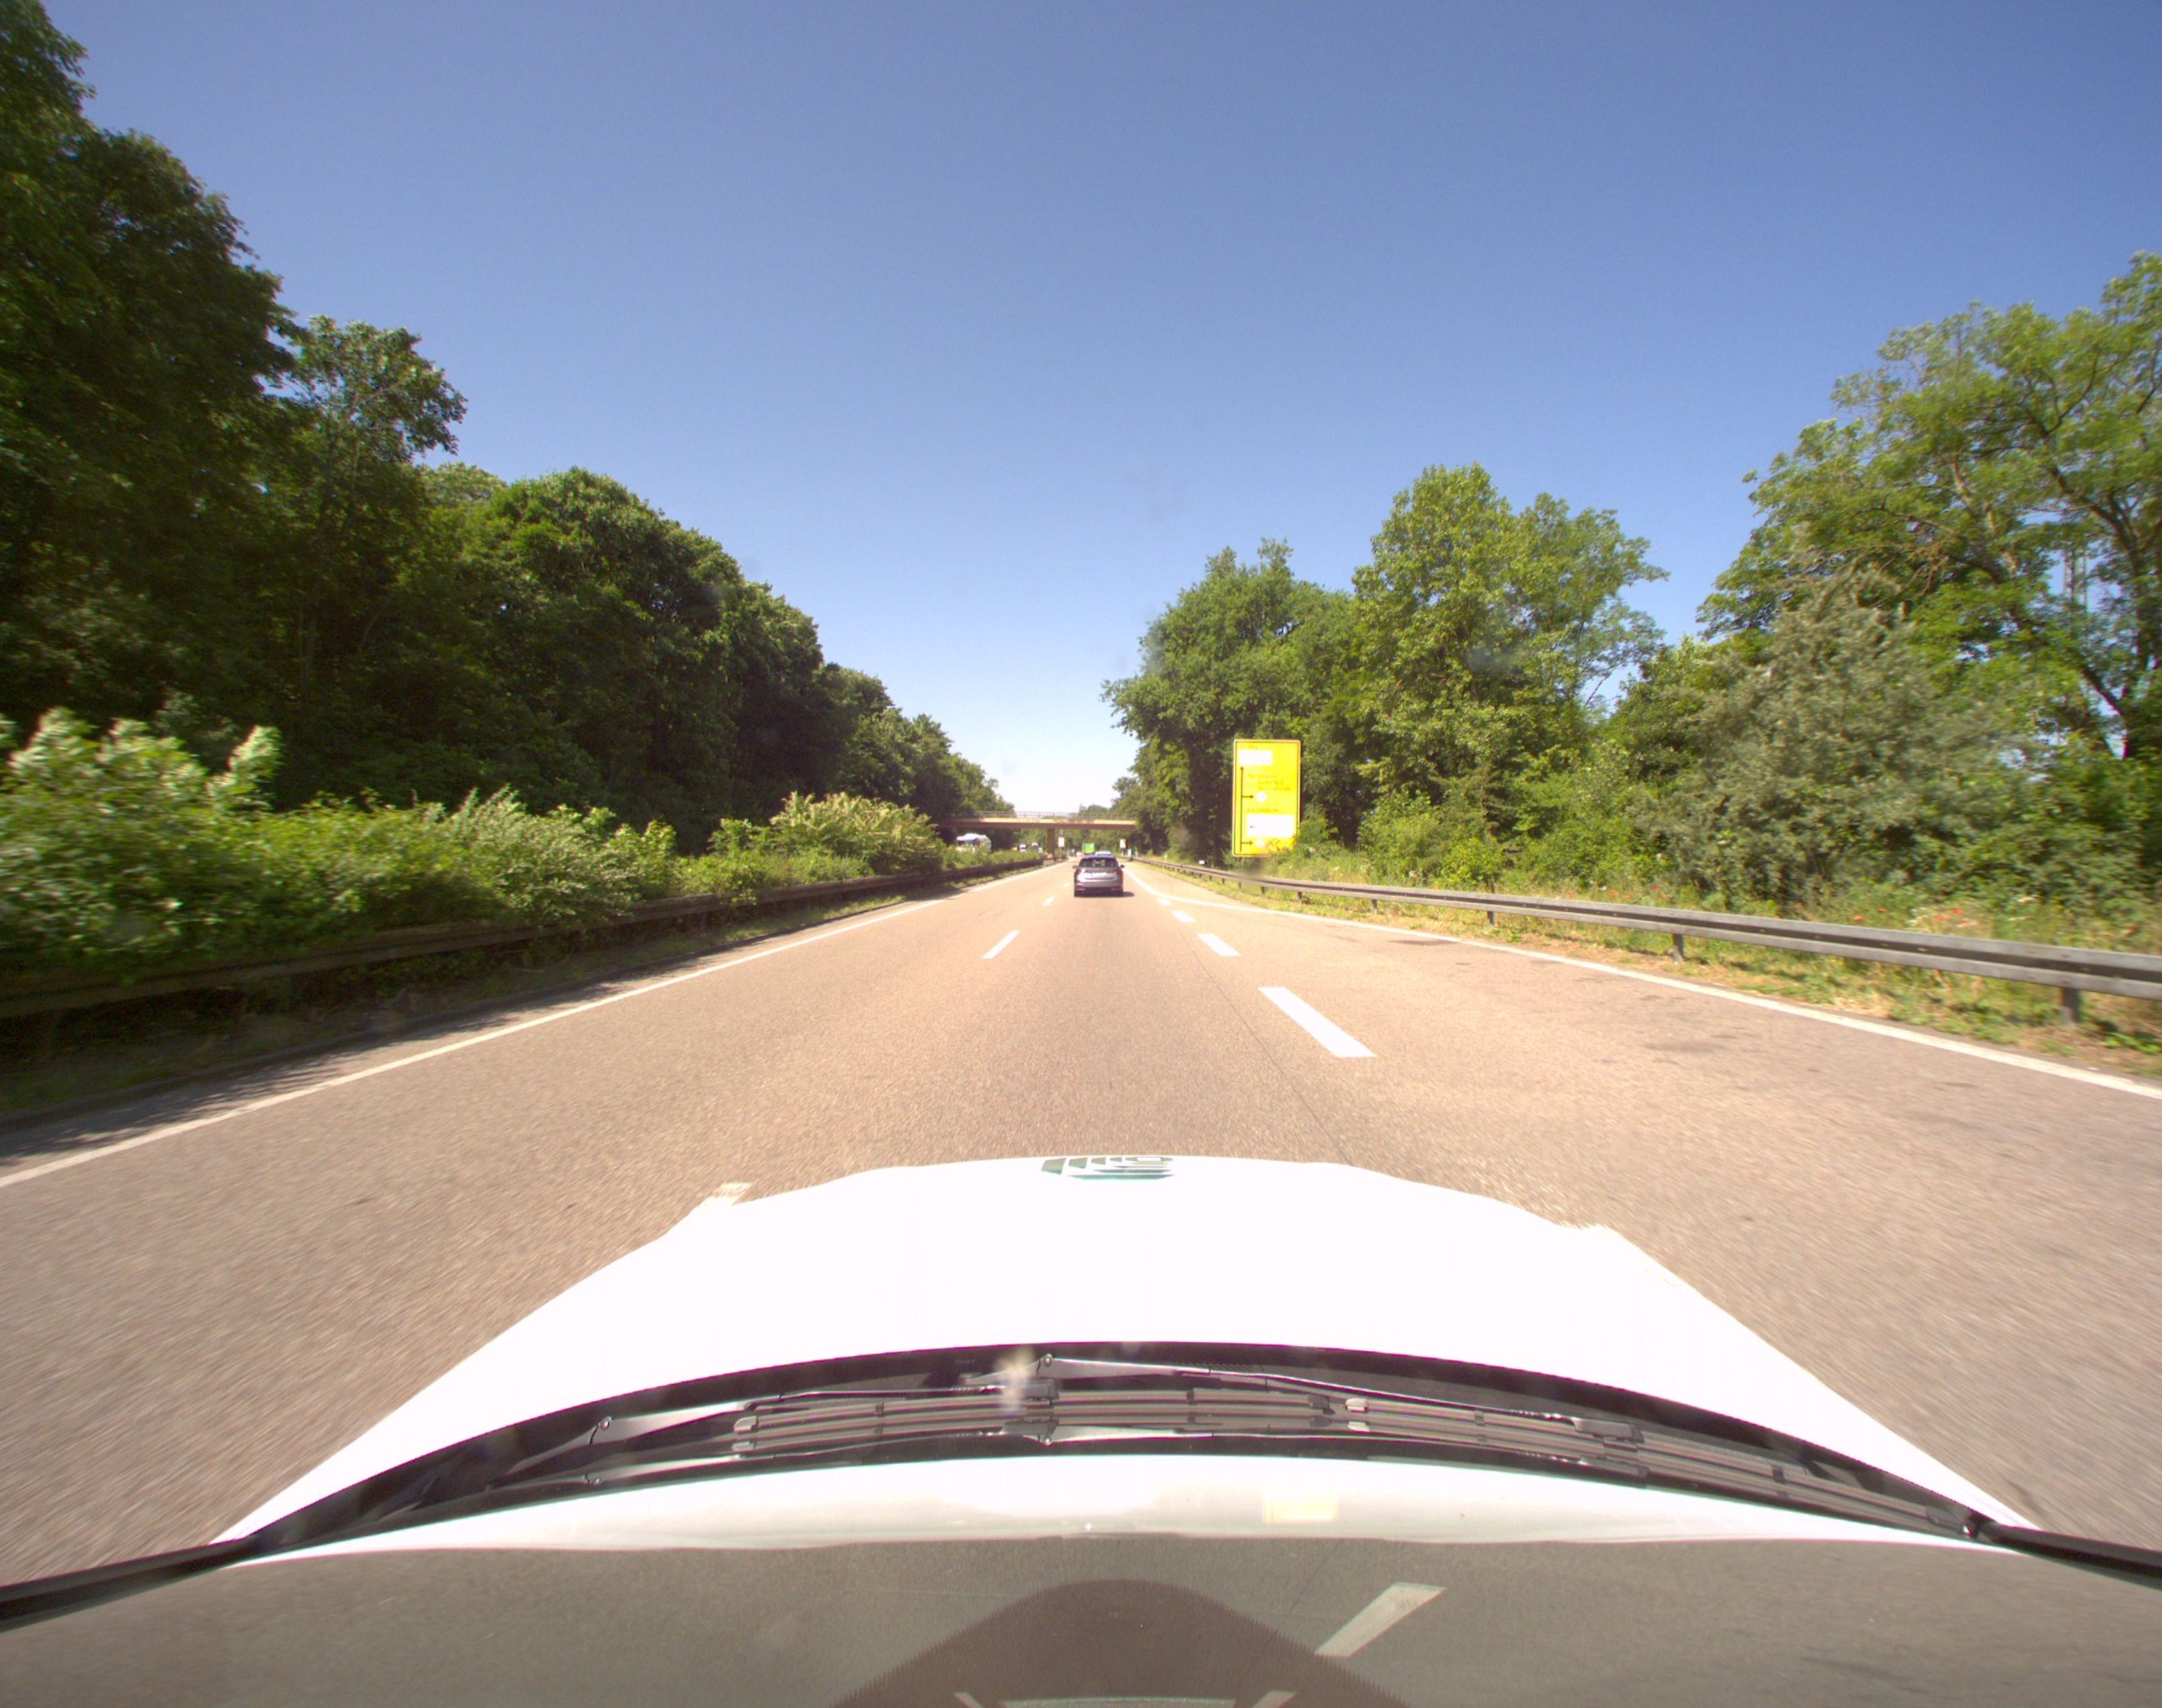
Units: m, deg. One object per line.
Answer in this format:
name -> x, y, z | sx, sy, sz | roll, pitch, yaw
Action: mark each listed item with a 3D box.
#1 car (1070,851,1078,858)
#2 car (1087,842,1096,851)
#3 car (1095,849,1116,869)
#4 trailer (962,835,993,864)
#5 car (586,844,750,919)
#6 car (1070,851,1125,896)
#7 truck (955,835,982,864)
car -> -2.090, 0.241, 241.558 | 1.986, 2.013, 4.001 | 0, 0, 2
car -> 3.070, -2.089, 239.015 | 2.738, 2.654, 4.001 | 0, 0, 1
car -> 1.859, 0.379, 61.273 | 1.516, 1.446, 3.343 | 0, 0, 3
trailer -> -12.760, -0.567, 100.972 | 1.986, 3.402, 11.424 | 0, 0, 2
car -> -10.817, 0.656, 21.776 | 1.835, 1.802, 4.555 | 0, 0, 3
car -> 0.647, 0.640, 28.808 | 1.832, 1.472, 3.626 | 0, 0, 3
truck -> -12.989, -0.520, 94.277 | 2.330, 3.342, 4.544 | 0, 0, 2
